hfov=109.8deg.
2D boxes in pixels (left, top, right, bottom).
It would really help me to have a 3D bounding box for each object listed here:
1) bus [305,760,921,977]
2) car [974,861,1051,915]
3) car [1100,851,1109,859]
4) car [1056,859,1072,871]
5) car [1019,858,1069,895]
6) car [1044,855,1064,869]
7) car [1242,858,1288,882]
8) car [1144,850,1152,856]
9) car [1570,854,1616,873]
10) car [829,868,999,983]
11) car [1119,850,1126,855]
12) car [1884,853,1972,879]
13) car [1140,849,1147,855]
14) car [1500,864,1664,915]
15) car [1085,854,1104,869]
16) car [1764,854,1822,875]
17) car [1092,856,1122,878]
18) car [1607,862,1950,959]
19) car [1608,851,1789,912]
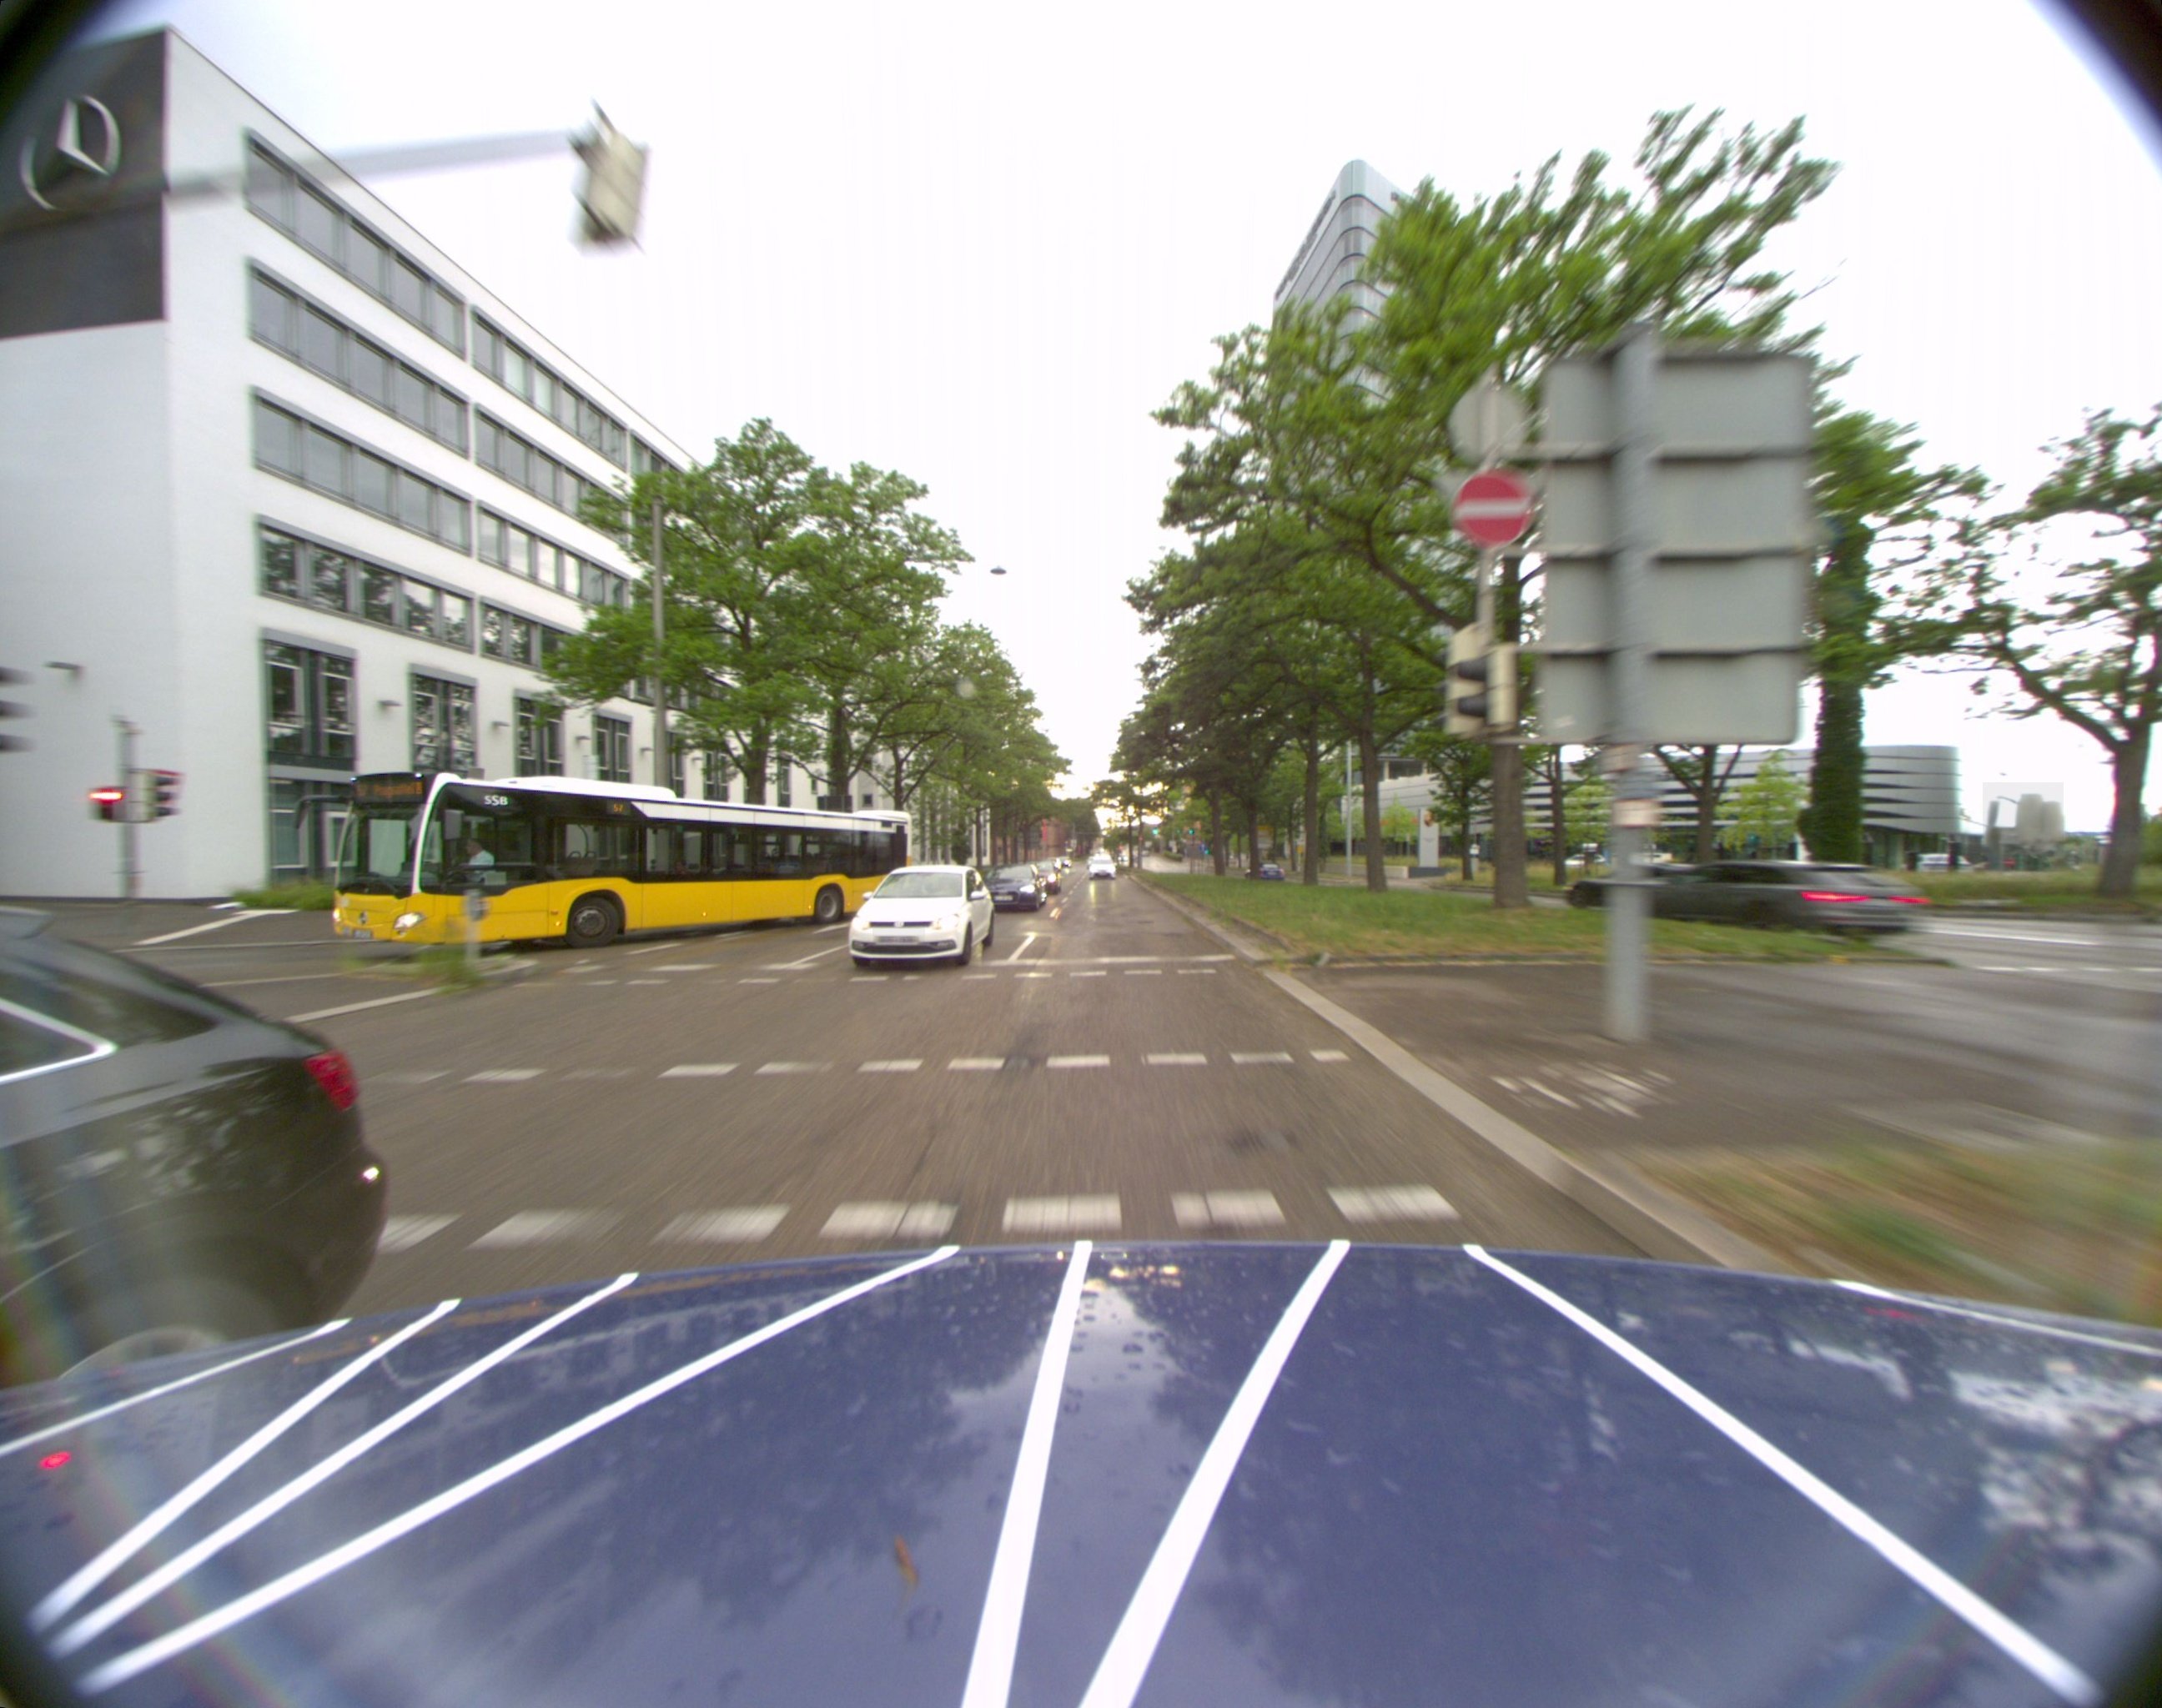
[{"bbox_3d":[-8.474,0.202,17.029,2.729,3.133,12.166,-2,0,25],"label":"bus"},{"bbox_3d":[-1.984,0.965,23.273,1.878,1.346,4.331,-2,1,1],"label":"car"},{"bbox_3d":[5.610,0.264,180.834,1.998,1.772,4.000,0,0,2],"label":"car"},{"bbox_3d":[-2.343,1.517,107.044,1.998,1.630,4.001,0,0,3],"label":"car"},{"bbox_3d":[-1.556,0.945,33.237,1.625,1.426,3.552,-2,1,5],"label":"car"},{"bbox_3d":[-3.221,0.947,89.861,1.998,1.576,4.001,0,0,3],"label":"car"},{"bbox_3d":[11.546,0.973,47.813,1.791,1.387,3.881,-1,0,-3],"label":"car"},{"bbox_3d":[18.393,-0.252,207.998,1.894,1.445,3.999,-2,1,0],"label":"car"},{"bbox_3d":[42.170,0.791,62.574,4.007,1.405,1.774,-3,1,-35],"label":"car"},{"bbox_3d":[-2.445,0.999,12.063,1.745,1.423,3.812,-1,0,1],"label":"car"},{"bbox_3d":[12.839,-0.380,237.251,1.846,1.581,4.173,1,1,0],"label":"car"},{"bbox_3d":[46.075,0.616,41.437,1.616,1.237,4.005,-2,1,22],"label":"car"},{"bbox_3d":[18.312,-0.565,223.732,1.783,1.445,3.999,-2,1,0],"label":"car"},{"bbox_3d":[15.063,0.994,23.215,1.829,1.354,4.667,0,0,-2],"label":"car"},{"bbox_3d":[1.562,0.879,88.140,1.998,1.707,4.001,0,0,3],"label":"car"},{"bbox_3d":[51.371,0.760,54.816,4.004,1.316,1.617,-2,1,-23],"label":"car"},{"bbox_3d":[1.801,0.882,52.492,1.998,1.455,4.000,0,0,2],"label":"car"},{"bbox_3d":[12.640,0.906,14.361,1.906,1.480,4.891,0,0,-2],"label":"car"},{"bbox_3d":[18.792,0.936,23.464,1.834,1.613,4.569,3,-4,-1],"label":"car"}]
